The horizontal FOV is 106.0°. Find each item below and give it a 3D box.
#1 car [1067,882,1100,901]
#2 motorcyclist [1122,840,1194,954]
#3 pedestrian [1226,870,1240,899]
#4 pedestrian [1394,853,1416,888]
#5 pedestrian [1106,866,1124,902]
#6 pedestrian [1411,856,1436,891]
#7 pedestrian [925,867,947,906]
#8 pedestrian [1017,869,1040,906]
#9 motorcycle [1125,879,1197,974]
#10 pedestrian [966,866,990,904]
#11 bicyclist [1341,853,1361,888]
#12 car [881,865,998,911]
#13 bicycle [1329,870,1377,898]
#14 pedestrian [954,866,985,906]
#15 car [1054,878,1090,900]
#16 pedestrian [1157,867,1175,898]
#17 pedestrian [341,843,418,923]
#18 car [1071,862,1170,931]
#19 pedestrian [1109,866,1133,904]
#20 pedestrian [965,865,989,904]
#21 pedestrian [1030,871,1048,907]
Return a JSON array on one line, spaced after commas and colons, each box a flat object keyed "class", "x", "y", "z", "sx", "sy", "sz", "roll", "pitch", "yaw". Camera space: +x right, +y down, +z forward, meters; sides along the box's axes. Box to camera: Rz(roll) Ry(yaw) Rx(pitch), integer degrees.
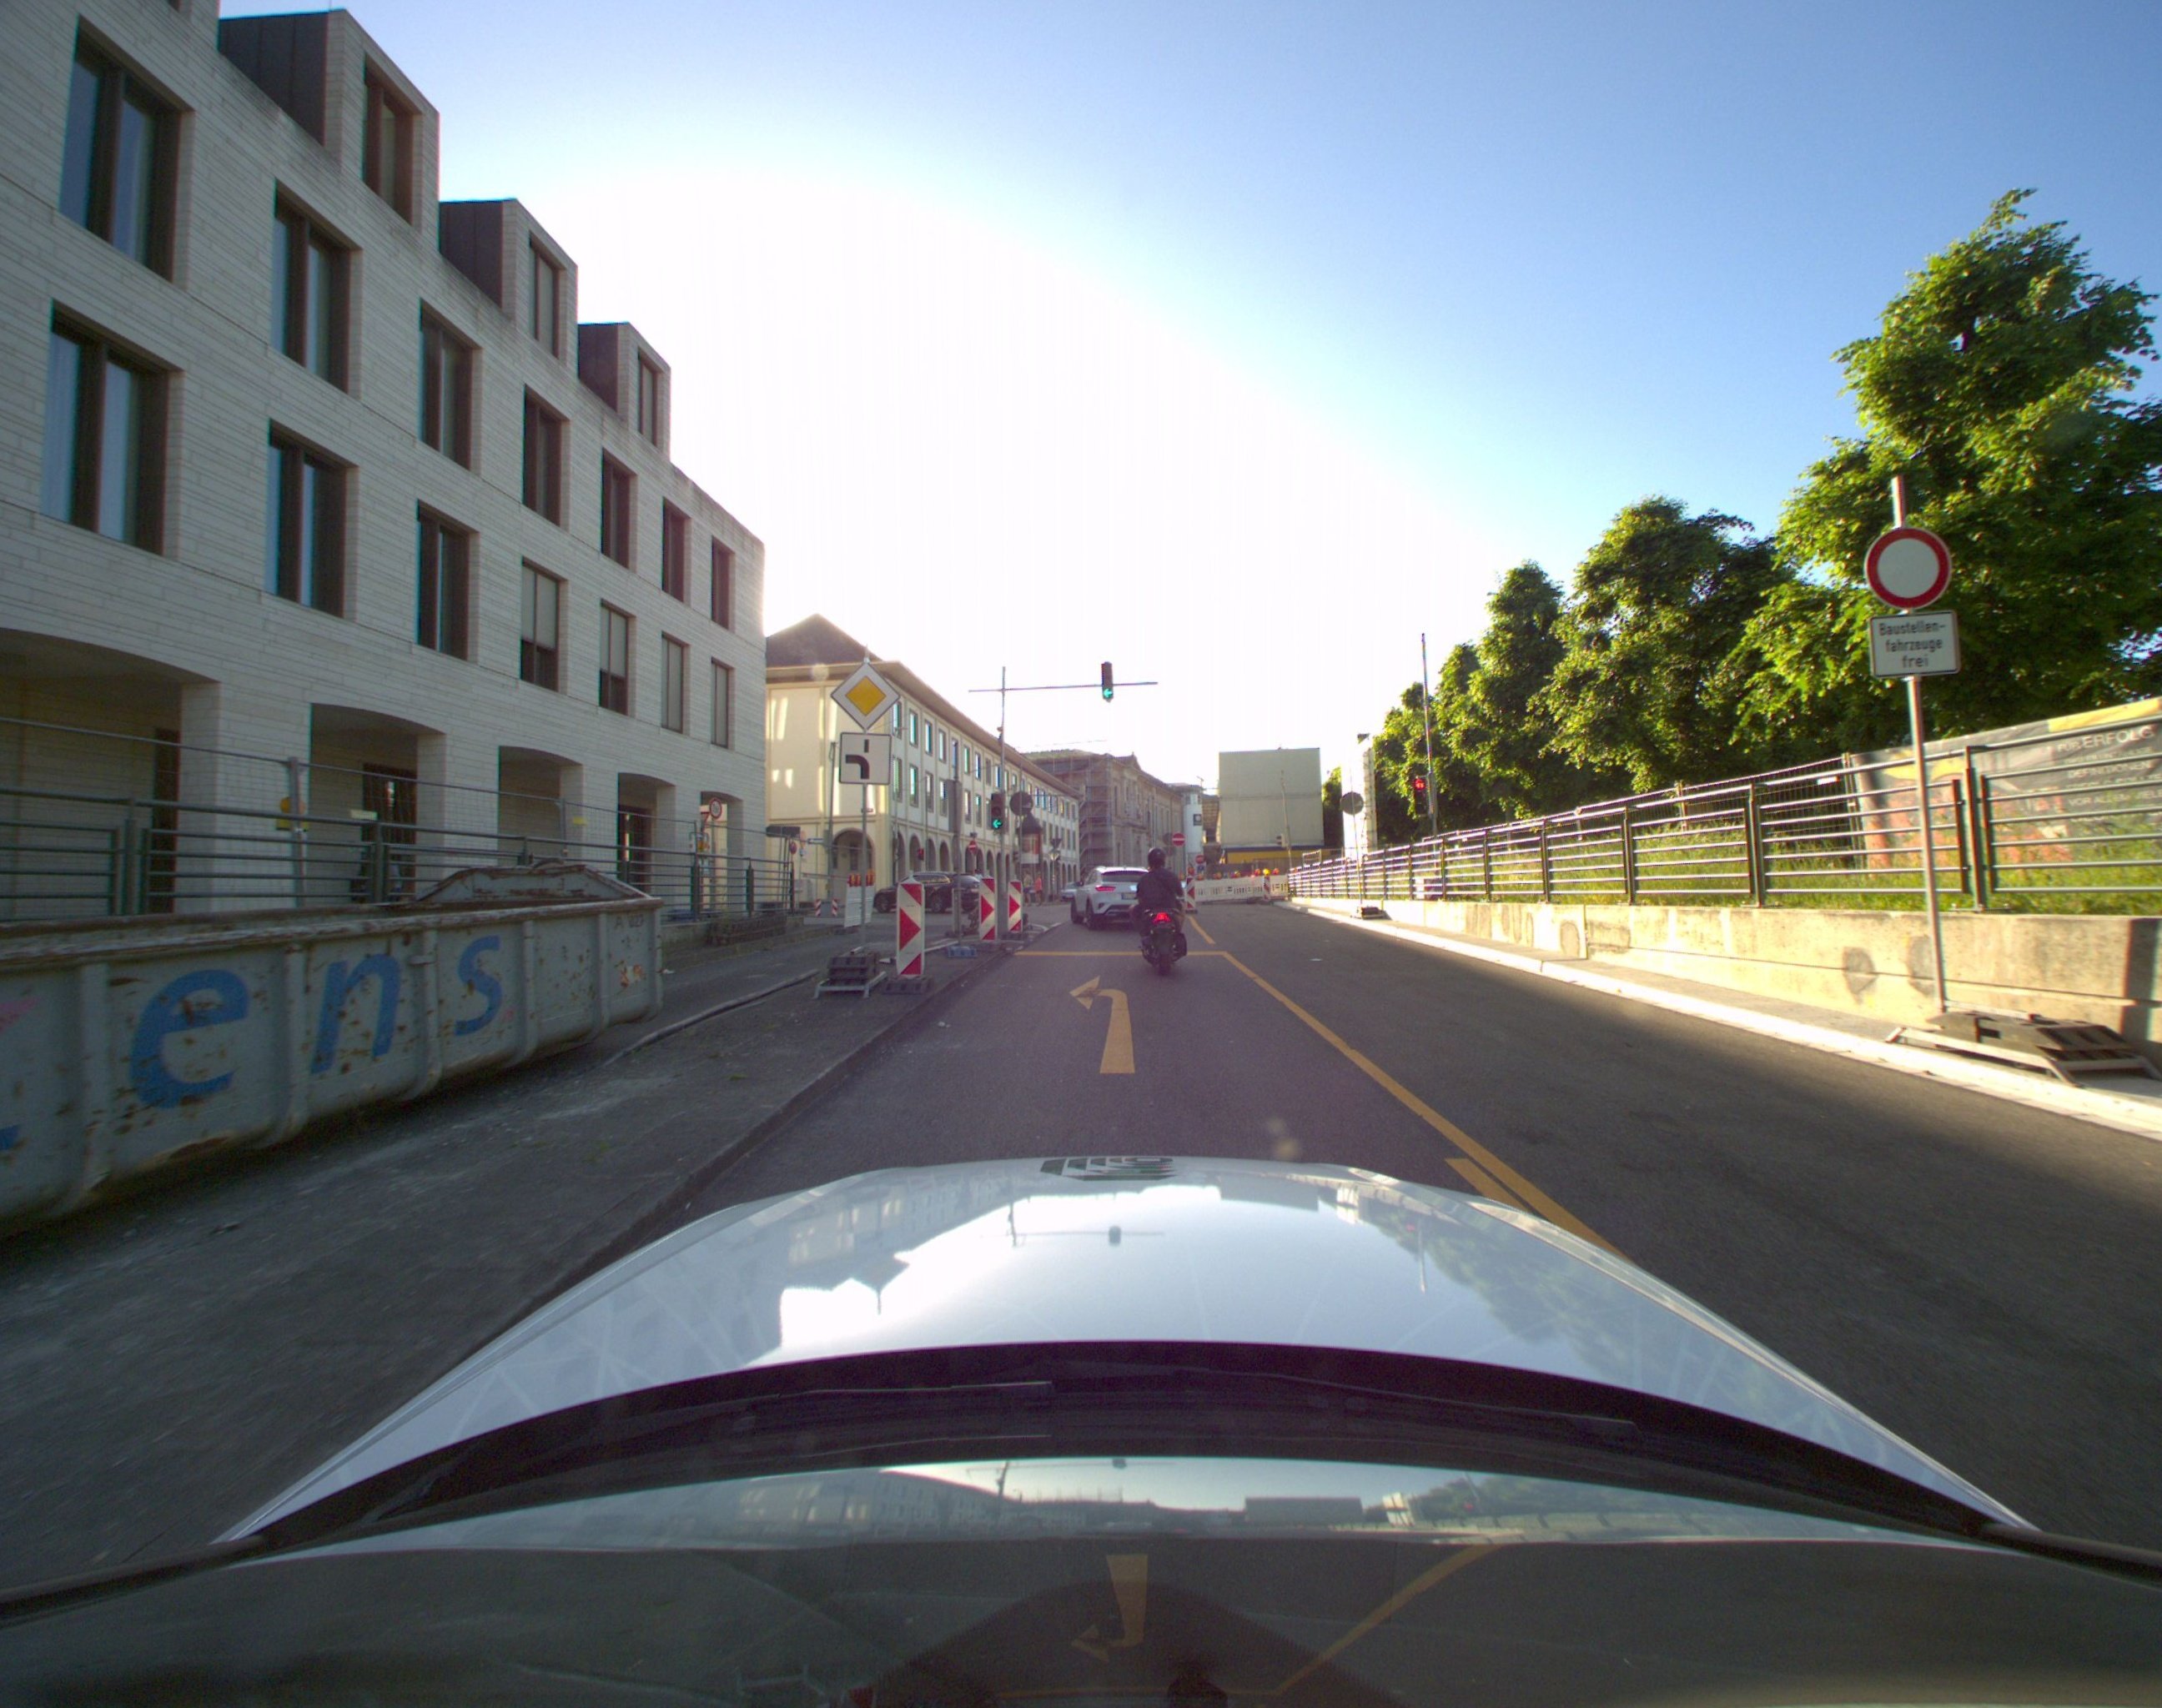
[{"class": "car", "x": 0.245, "y": 3.042, "z": 65.456, "sx": 1.912, "sy": 1.467, "sz": 4.010, "roll": 0, "pitch": -4, "yaw": 10}, {"class": "motorcyclist", "x": 1.098, "y": 0.600, "z": 11.839, "sx": 0.950, "sy": 1.560, "sz": 1.240, "roll": -1, "pitch": -1, "yaw": 3}, {"class": "pedestrian", "x": 7.080, "y": 1.419, "z": 38.019, "sx": 0.614, "sy": 1.300, "sz": 0.495, "roll": 1, "pitch": -2, "yaw": 9}, {"class": "pedestrian", "x": 15.432, "y": 0.803, "z": 38.804, "sx": 0.732, "sy": 1.604, "sz": 0.645, "roll": -3, "pitch": -2, "yaw": 9}, {"class": "pedestrian", "x": 1.642, "y": 1.440, "z": 39.454, "sx": 0.732, "sy": 1.716, "sz": 0.623, "roll": -3, "pitch": -2, "yaw": 9}, {"class": "pedestrian", "x": 15.772, "y": 0.910, "z": 37.471, "sx": 0.746, "sy": 1.566, "sz": 0.660, "roll": -2, "pitch": -3, "yaw": -24}, {"class": "pedestrian", "x": -6.773, "y": 1.521, "z": 38.137, "sx": 0.769, "sy": 1.802, "sz": 0.712, "roll": -2, "pitch": 0, "yaw": 6}, {"class": "pedestrian", "x": -2.531, "y": 1.609, "z": 39.422, "sx": 0.960, "sy": 1.710, "sz": 0.676, "roll": -1, "pitch": 0, "yaw": 6}, {"class": "motorcycle", "x": 1.120, "y": 0.979, "z": 11.879, "sx": 0.902, "sy": 1.183, "sz": 2.581, "roll": -1, "pitch": -1, "yaw": 4}, {"class": "pedestrian", "x": -4.943, "y": 1.497, "z": 39.181, "sx": 0.933, "sy": 1.777, "sz": 0.712, "roll": -2, "pitch": 0, "yaw": 6}, {"class": "bicyclist", "x": 12.202, "y": 0.756, "z": 36.799, "sx": 0.698, "sy": 1.516, "sz": 0.687, "roll": -1, "pitch": -3, "yaw": 7}, {"class": "car", "x": -5.197, "y": 1.249, "z": 29.734, "sx": 4.053, "sy": 1.550, "sz": 1.791, "roll": -3, "pitch": -2, "yaw": 33}, {"class": "bicycle", "x": 12.259, "y": 1.356, "z": 36.723, "sx": 1.981, "sy": 1.201, "sz": 0.478, "roll": -1, "pitch": -3, "yaw": 8}, {"class": "pedestrian", "x": -5.160, "y": 1.476, "z": 37.747, "sx": 1.237, "sy": 1.802, "sz": 0.718, "roll": -2, "pitch": 0, "yaw": 6}, {"class": "car", "x": -0.607, "y": 2.570, "z": 59.035, "sx": 1.912, "sy": 1.467, "sz": 4.010, "roll": 0, "pitch": -4, "yaw": 10}, {"class": "pedestrian", "x": 4.205, "y": 1.416, "z": 40.181, "sx": 0.764, "sy": 1.462, "sz": 0.667, "roll": -3, "pitch": -2, "yaw": 9}, {"class": "pedestrian", "x": -13.779, "y": 0.556, "z": 16.016, "sx": 0.668, "sy": 1.487, "sz": 0.799, "roll": -4, "pitch": 1, "yaw": 4}, {"class": "car", "x": 0.869, "y": 0.981, "z": 20.371, "sx": 1.857, "sy": 1.472, "sz": 3.991, "roll": 0, "pitch": 0, "yaw": -7}, {"class": "pedestrian", "x": 1.870, "y": 1.444, "z": 38.195, "sx": 0.969, "sy": 1.729, "sz": 0.799, "roll": -3, "pitch": -3, "yaw": 6}, {"class": "pedestrian", "x": -4.895, "y": 1.444, "z": 38.493, "sx": 0.933, "sy": 1.777, "sz": 0.712, "roll": -2, "pitch": 0, "yaw": 6}, {"class": "pedestrian", "x": -1.977, "y": 1.648, "z": 38.398, "sx": 0.721, "sy": 1.624, "sz": 0.621, "roll": -1, "pitch": 0, "yaw": 6}]
